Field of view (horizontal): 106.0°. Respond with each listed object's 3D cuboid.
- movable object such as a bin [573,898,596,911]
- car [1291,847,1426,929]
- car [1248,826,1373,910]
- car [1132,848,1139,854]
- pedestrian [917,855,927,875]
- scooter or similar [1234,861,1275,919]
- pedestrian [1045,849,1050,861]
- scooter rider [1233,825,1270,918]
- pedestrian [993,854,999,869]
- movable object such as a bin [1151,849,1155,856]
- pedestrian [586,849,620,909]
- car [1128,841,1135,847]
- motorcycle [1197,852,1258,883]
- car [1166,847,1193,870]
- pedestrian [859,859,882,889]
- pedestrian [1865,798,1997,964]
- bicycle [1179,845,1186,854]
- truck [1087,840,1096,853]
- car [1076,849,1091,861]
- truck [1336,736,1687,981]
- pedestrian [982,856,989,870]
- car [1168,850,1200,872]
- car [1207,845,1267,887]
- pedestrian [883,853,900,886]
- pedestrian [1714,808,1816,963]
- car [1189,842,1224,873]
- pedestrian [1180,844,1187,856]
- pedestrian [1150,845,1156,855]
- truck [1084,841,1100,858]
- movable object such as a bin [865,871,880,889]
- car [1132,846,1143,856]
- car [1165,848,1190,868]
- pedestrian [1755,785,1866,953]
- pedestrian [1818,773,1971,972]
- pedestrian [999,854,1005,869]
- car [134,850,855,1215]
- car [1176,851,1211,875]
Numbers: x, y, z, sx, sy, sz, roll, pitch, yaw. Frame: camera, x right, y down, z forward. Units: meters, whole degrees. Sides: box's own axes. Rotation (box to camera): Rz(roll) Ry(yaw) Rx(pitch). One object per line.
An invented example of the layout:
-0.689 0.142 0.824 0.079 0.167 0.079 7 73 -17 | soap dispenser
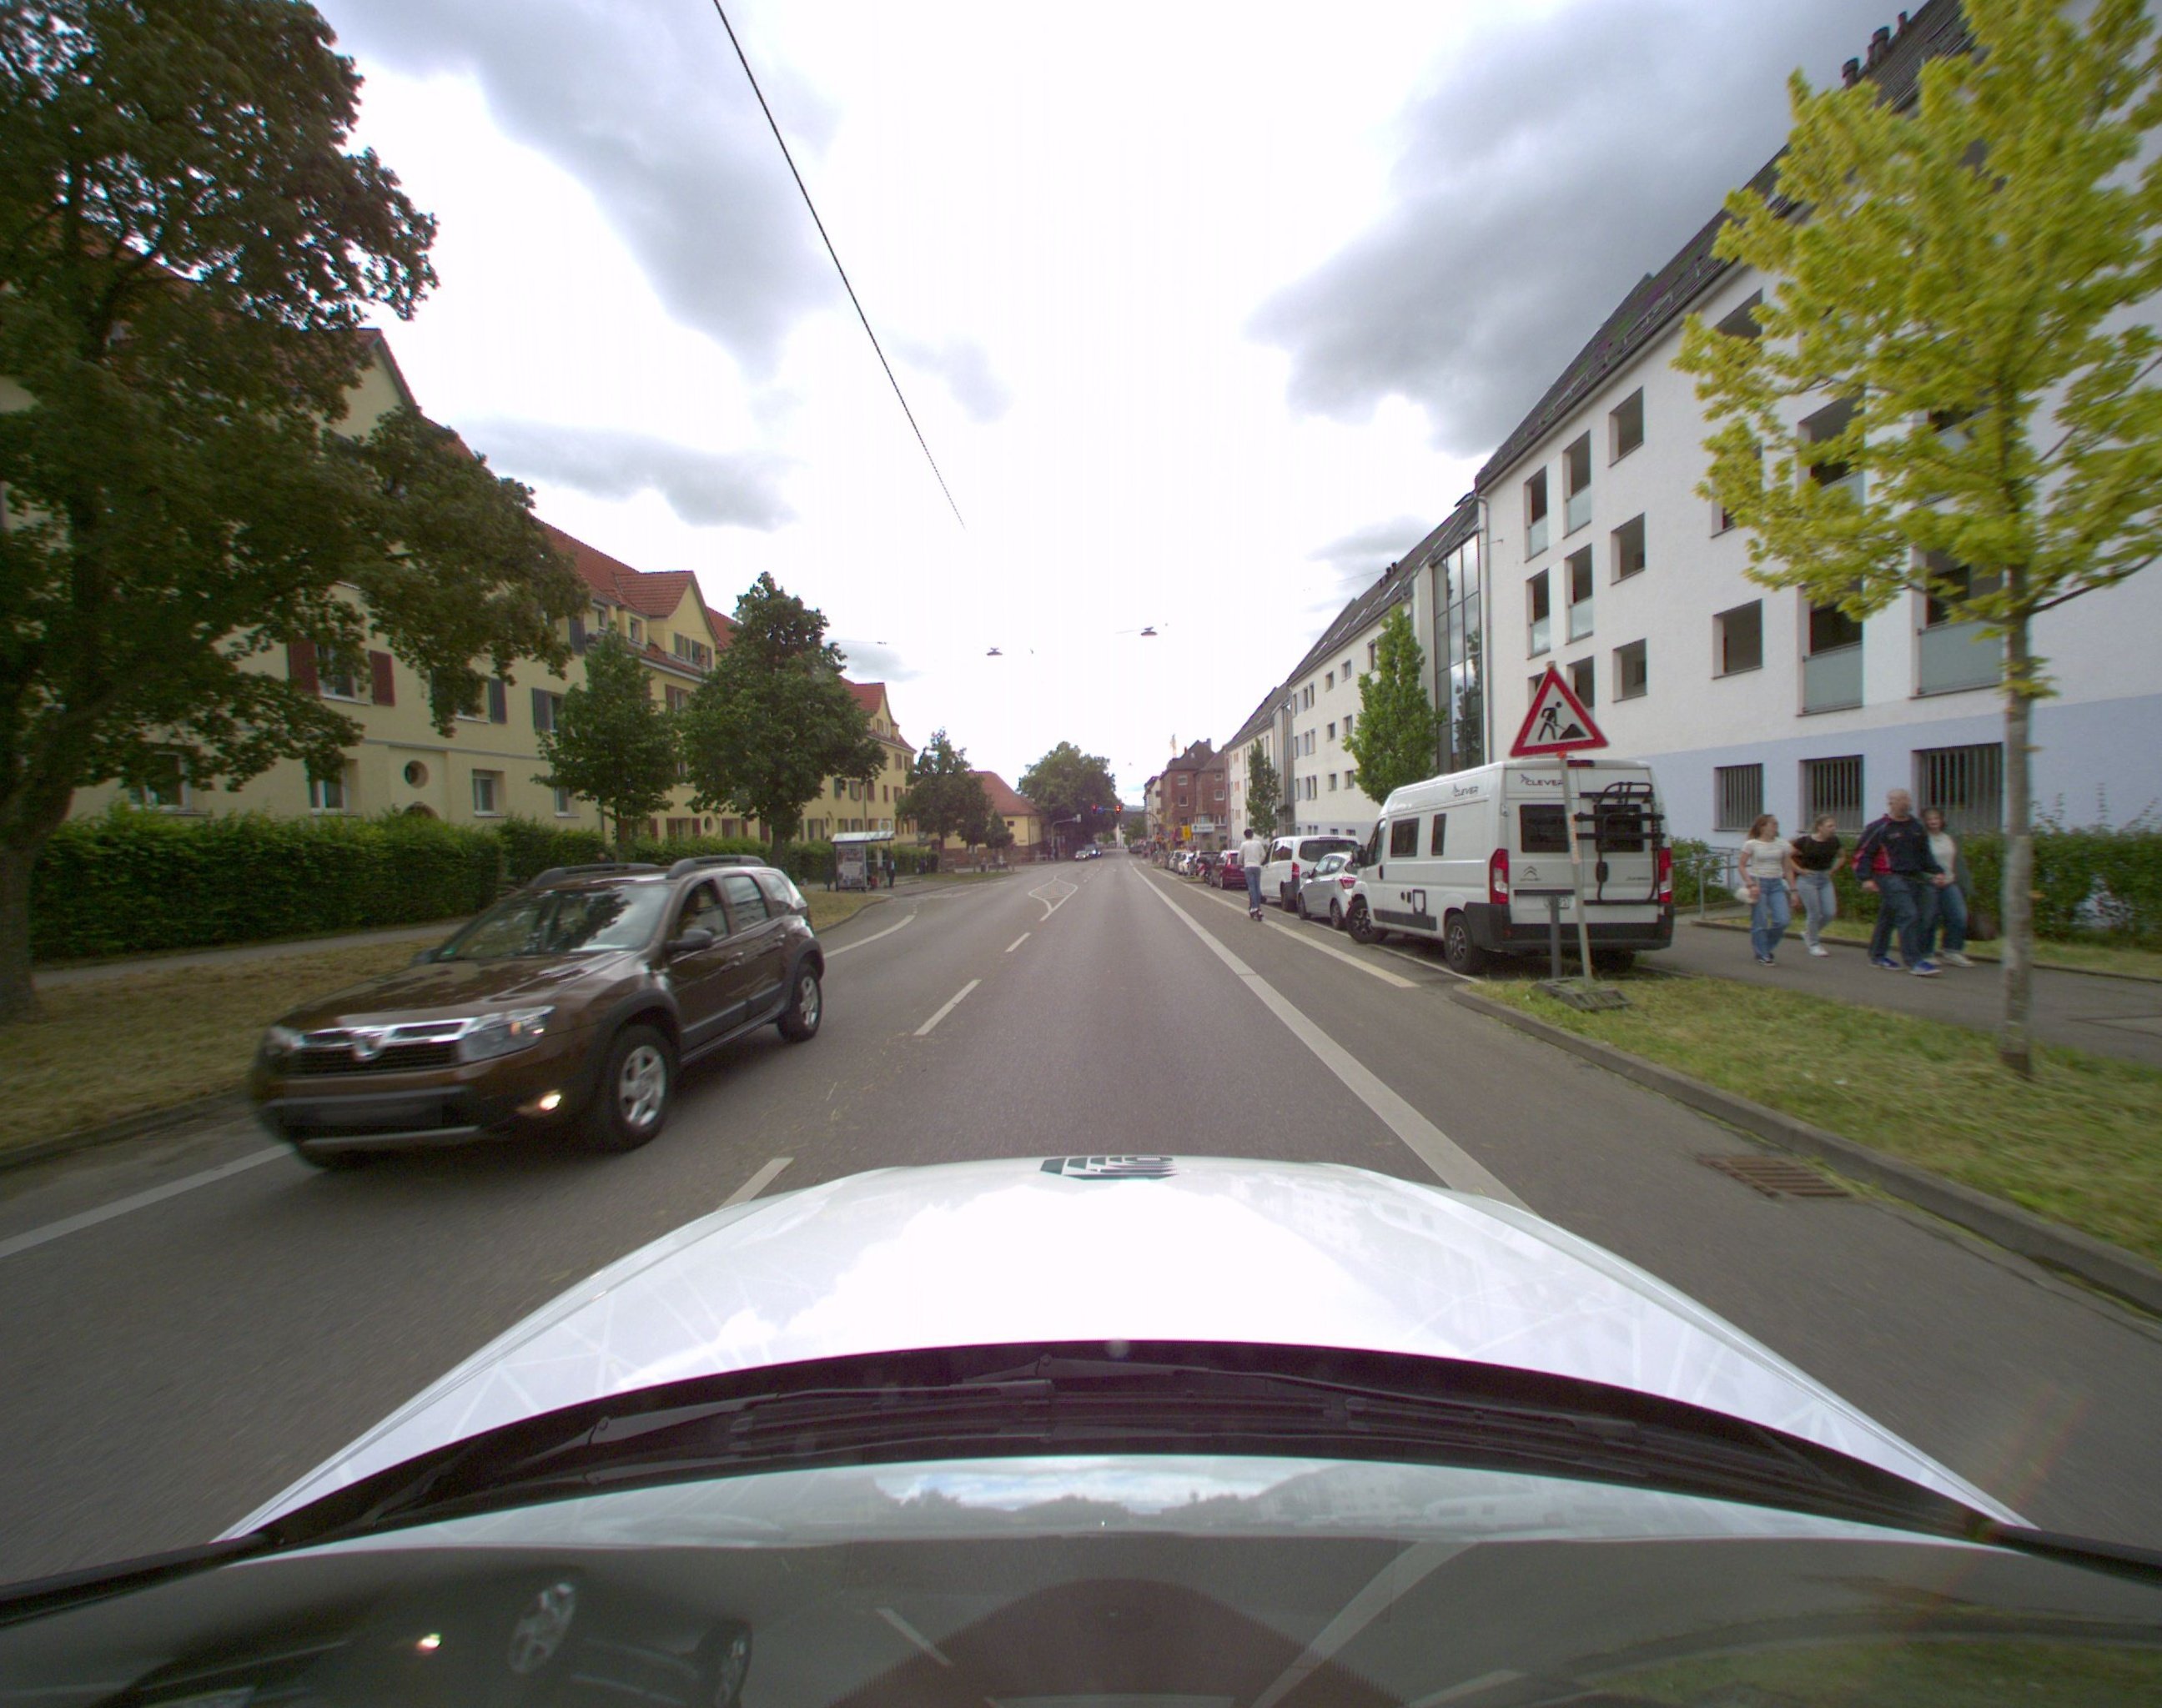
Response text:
-15.200 1.531 24.942 0.304 0.347 0.582 -2 0 8 | movable object such as a bin
5.585 0.601 16.842 1.520 1.485 3.725 -1 0 0 | car
5.971 0.306 21.886 1.986 1.944 5.214 -2 1 2 | car
13.527 -0.752 202.247 1.663 1.547 3.756 -2 1 0 | car
-13.015 0.872 66.842 0.638 1.619 0.618 -2 0 1 | pedestrian
3.844 0.770 18.168 0.489 1.163 2.076 -2 0 2 | scooter or similar
-4.956 0.092 121.150 0.671 1.765 0.726 -2 0 4 | pedestrian
3.796 0.375 18.175 0.623 2.013 0.758 -2 0 1 | scooter rider
-10.359 0.941 99.325 0.561 1.777 0.843 -2 0 2 | pedestrian
11.110 -0.232 125.934 0.449 1.056 0.412 -2 0 22 | movable object such as a bin
-14.519 0.761 24.767 0.511 1.779 0.753 -2 0 2 | pedestrian
14.368 -2.894 231.371 1.663 1.547 3.756 -2 1 0 | car
6.595 0.613 36.816 2.591 1.278 0.752 -2 0 -2 | motorcycle
7.875 0.338 65.232 1.653 1.716 4.553 -1 0 1 | car
-10.541 0.997 40.886 0.895 1.509 0.807 -1 0 3 | pedestrian
8.847 0.270 8.494 0.656 1.605 0.574 -6 1 -7 | pedestrian
14.091 -0.652 112.743 0.757 1.193 2.393 -2 0 3 | bicycle
2.843 -2.022 215.229 2.222 3.346 7.453 -2 0 2 | truck
0.379 0.122 114.481 1.747 1.472 4.313 -3 0 6 | car
5.512 0.022 11.589 2.045 2.565 5.691 -2 0 1 | truck
-10.870 1.029 93.014 0.560 1.566 0.844 -2 0 8 | pedestrian
7.451 0.454 59.199 1.739 1.467 4.950 -1 0 1 | car
6.295 0.449 33.307 1.675 1.544 4.340 -2 0 1 | car
-10.021 0.814 42.987 0.594 1.726 0.862 -1 0 5 | pedestrian
7.626 0.342 9.095 0.577 1.644 0.559 -3 -1 -12 | pedestrian
7.241 0.165 47.226 1.625 1.650 4.361 -1 2 3 | car
14.145 -0.523 112.679 0.785 1.656 0.773 -4 0 3 | pedestrian
11.158 -0.601 126.136 0.560 1.636 0.684 -2 0 22 | pedestrian
1.763 -0.703 127.543 2.288 2.427 6.410 -3 0 0 | truck
-10.388 1.285 40.576 0.534 0.845 0.665 -1 0 3 | movable object such as a bin
12.309 -0.666 178.657 1.987 1.935 4.918 -2 1 0 | car
8.240 0.344 70.024 1.728 1.588 4.574 -1 0 1 | car
8.559 0.168 9.575 0.671 1.886 0.617 -3 -1 -15 | pedestrian
8.186 0.176 8.226 0.670 1.886 0.763 -3 -1 -10 | pedestrian
-9.599 0.906 98.891 0.561 1.777 0.717 -2 0 2 | pedestrian
-3.338 0.826 5.953 1.891 1.620 4.365 -2 0 3 | car
7.211 0.532 52.491 1.724 1.413 4.501 -1 0 1 | car
